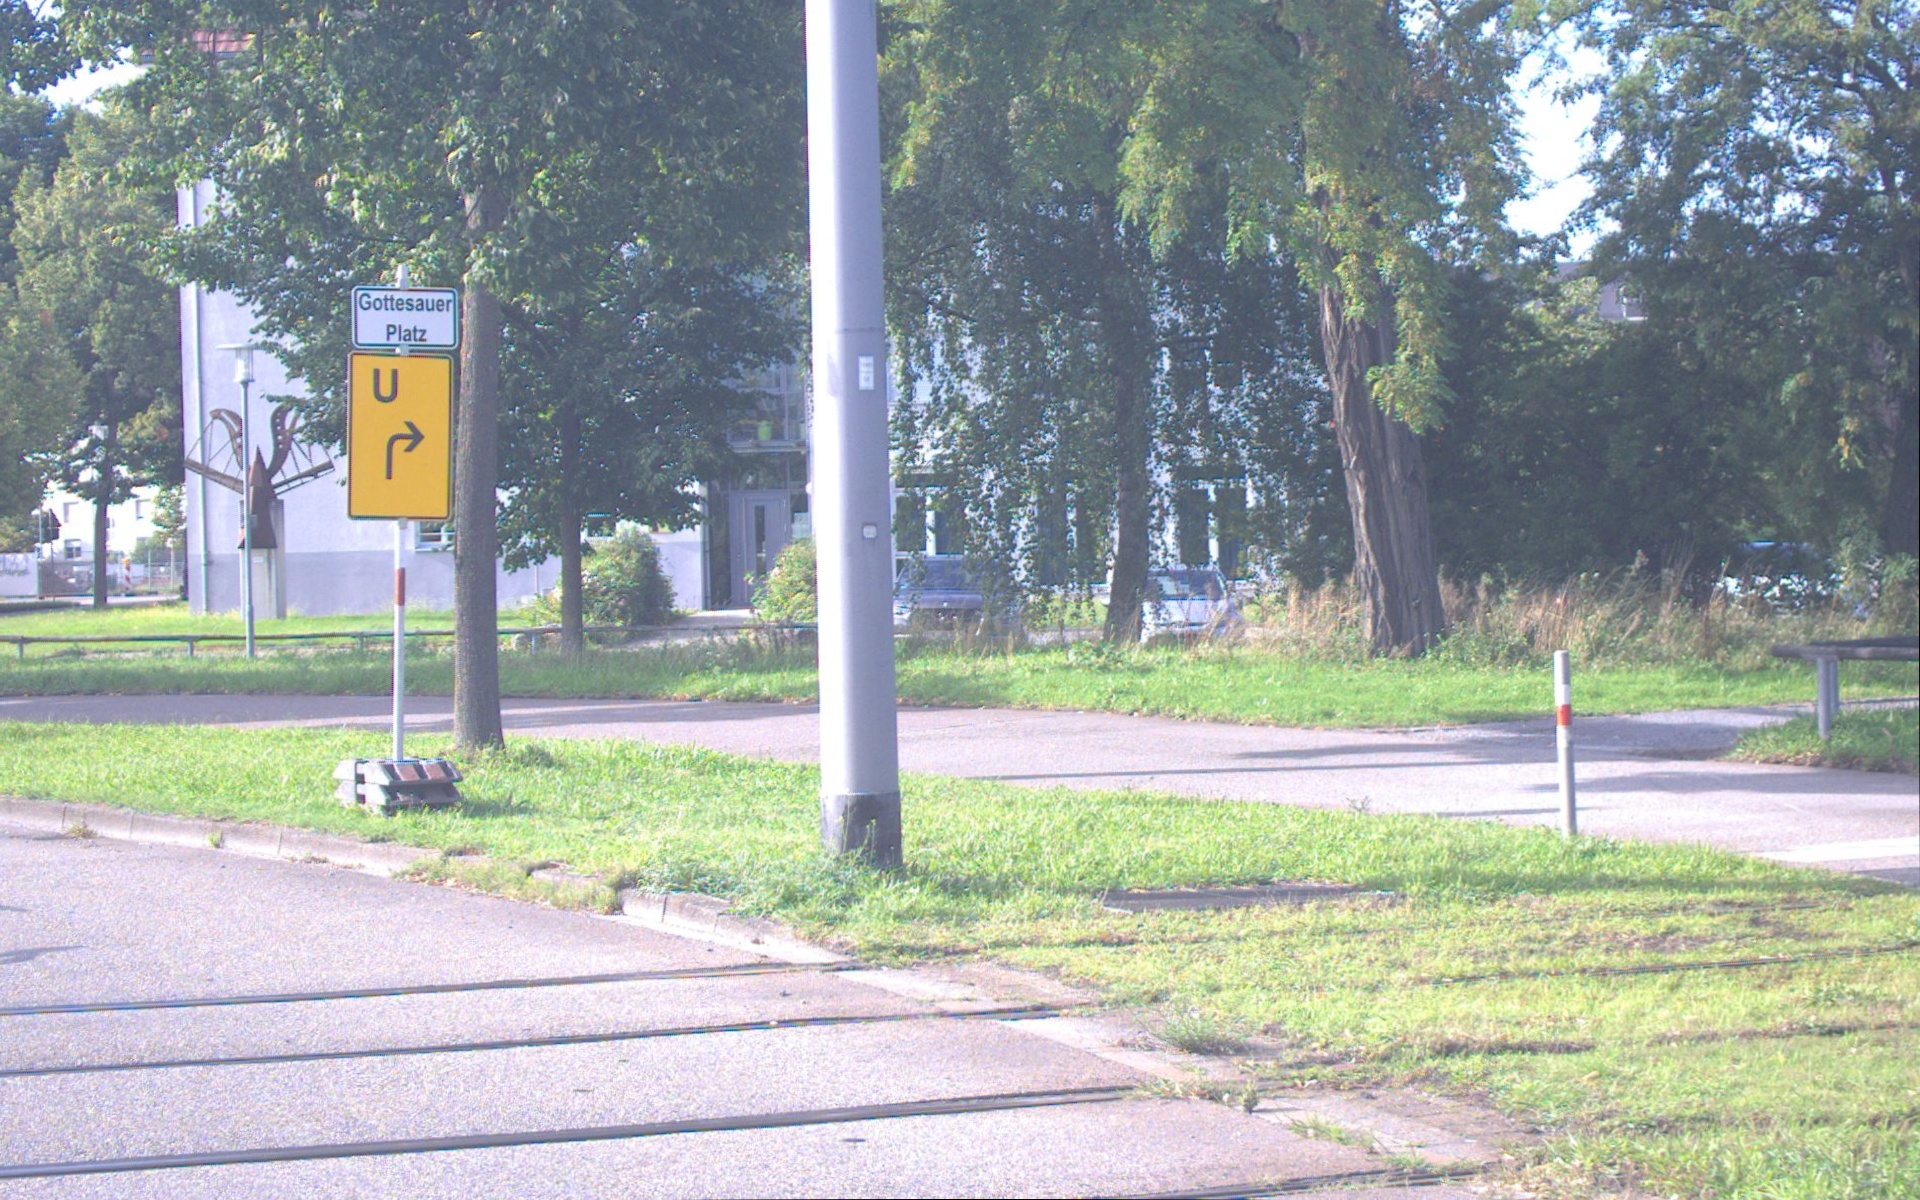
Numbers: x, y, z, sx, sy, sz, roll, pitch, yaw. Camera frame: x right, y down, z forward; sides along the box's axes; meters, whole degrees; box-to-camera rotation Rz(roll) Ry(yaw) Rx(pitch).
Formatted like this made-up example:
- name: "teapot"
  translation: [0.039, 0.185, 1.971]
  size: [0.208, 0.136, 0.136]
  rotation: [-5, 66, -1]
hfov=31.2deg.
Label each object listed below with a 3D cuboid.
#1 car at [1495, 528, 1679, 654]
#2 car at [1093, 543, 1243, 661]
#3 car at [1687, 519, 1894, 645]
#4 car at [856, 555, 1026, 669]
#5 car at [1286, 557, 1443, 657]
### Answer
- name: "car"
  translation: [8.128, -0.148, 44.913]
  size: [1.855, 1.510, 4.733]
  rotation: [-1, 1, 4]
- name: "car"
  translation: [2.796, -0.013, 45.579]
  size: [1.855, 1.435, 4.733]
  rotation: [-1, 1, 4]
- name: "car"
  translation: [10.747, -0.257, 44.769]
  size: [1.855, 1.510, 4.733]
  rotation: [-1, 1, 4]
- name: "car"
  translation: [-0.200, 0.121, 45.505]
  size: [1.855, 1.376, 4.515]
  rotation: [-1, 1, 4]
- name: "car"
  translation: [5.331, 0.059, 45.766]
  size: [1.855, 1.203, 4.733]
  rotation: [-1, 1, 4]
